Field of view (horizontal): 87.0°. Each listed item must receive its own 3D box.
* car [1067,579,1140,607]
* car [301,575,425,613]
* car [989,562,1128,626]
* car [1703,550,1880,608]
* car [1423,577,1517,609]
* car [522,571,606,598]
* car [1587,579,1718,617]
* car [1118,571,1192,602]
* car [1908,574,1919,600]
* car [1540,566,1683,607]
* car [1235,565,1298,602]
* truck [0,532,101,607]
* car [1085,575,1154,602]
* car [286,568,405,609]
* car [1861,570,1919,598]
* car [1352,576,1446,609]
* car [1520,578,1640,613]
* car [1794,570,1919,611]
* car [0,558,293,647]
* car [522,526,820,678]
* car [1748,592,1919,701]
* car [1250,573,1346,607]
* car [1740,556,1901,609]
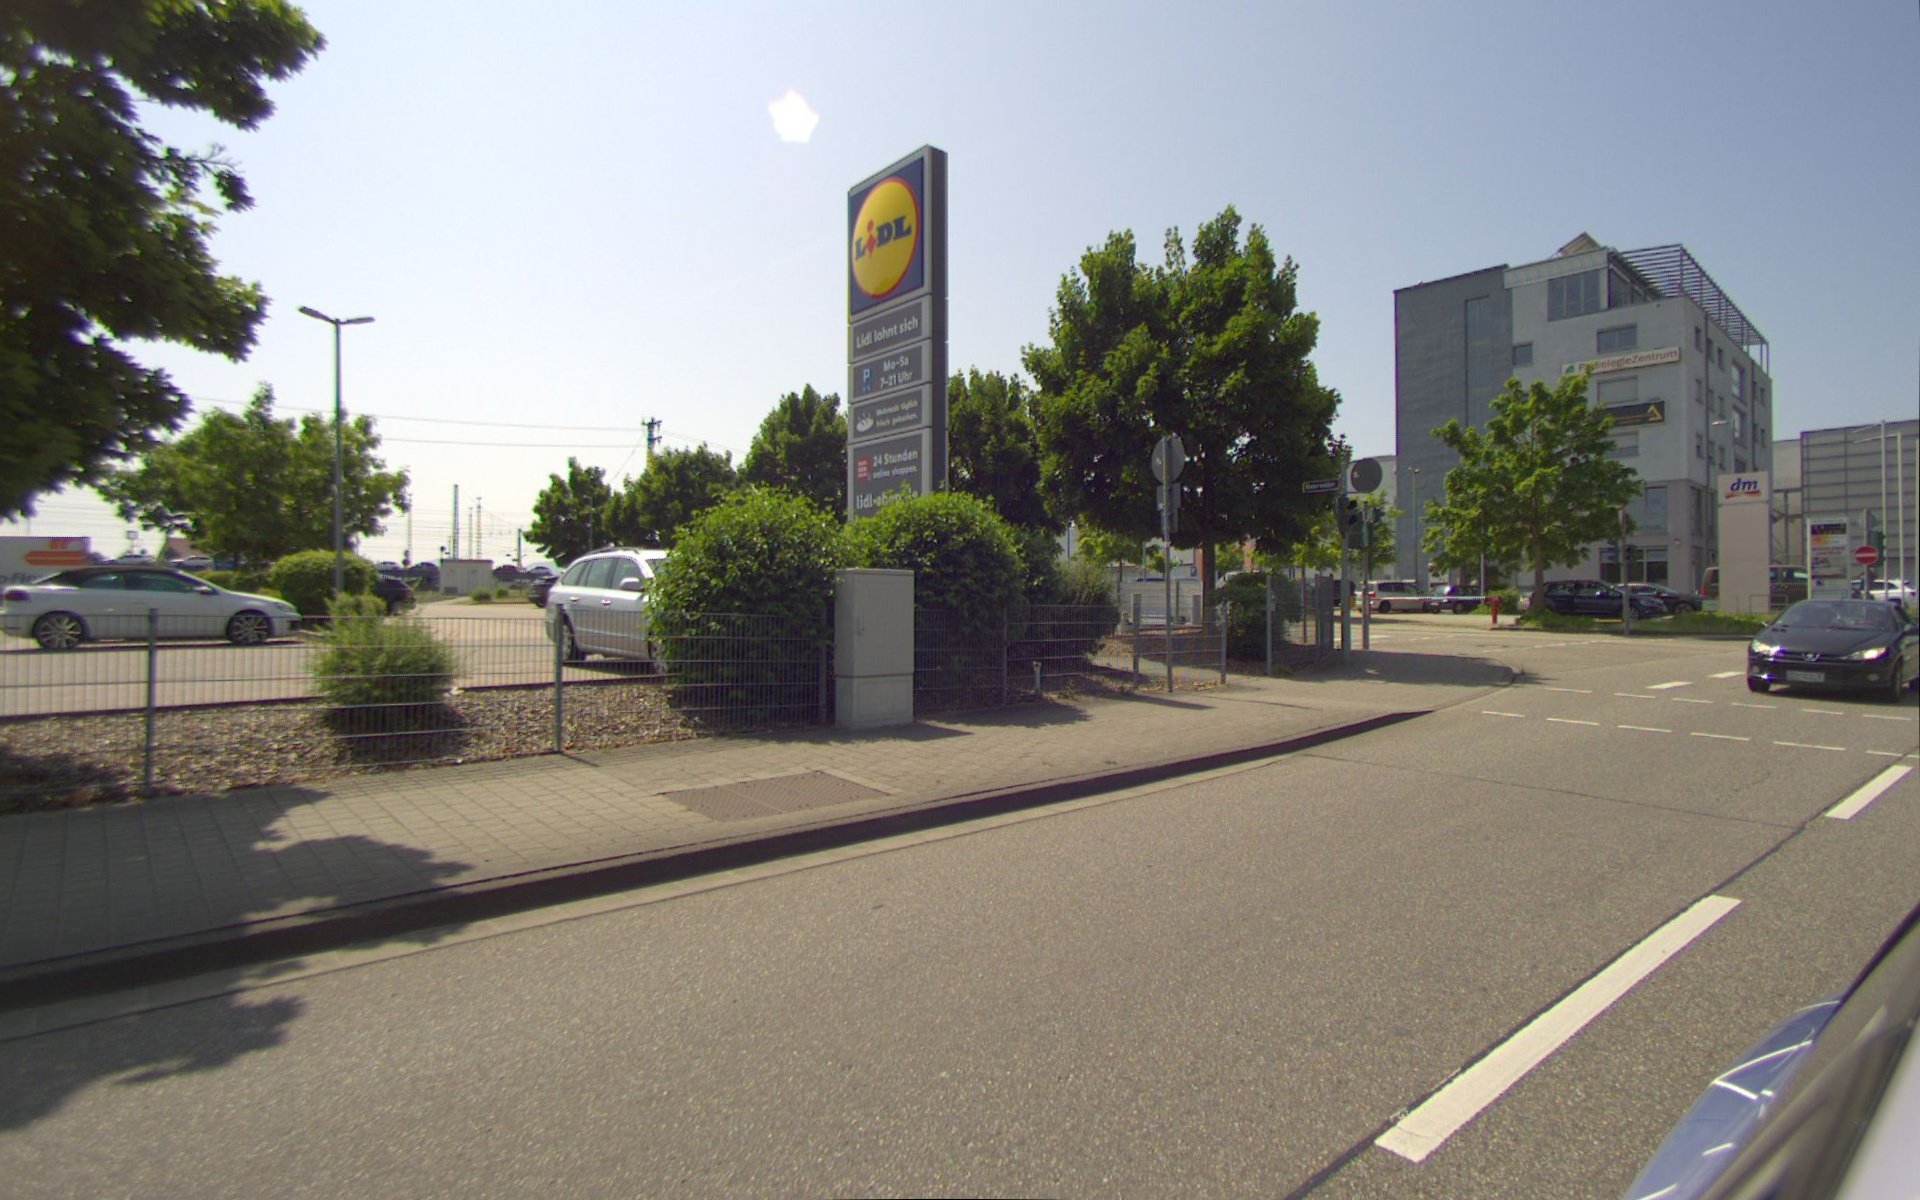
[{"bbox_3d":[7.311,-0.375,51.480,3.538,1.371,1.751,-1,1,-38],"label":"car"},{"bbox_3d":[-21.651,-0.238,36.758,3.731,1.304,1.635,0,1,-38],"label":"car"},{"bbox_3d":[2.459,-0.158,24.861,3.474,1.456,1.422,0,2,-43],"label":"car"},{"bbox_3d":[31.059,-0.726,37.925,2.143,1.821,4.705,0,-3,-37],"label":"car"},{"bbox_3d":[24.717,-0.348,49.074,3.916,1.504,2.004,0,1,-23],"label":"car"},{"bbox_3d":[-20.359,-0.799,52.102,3.691,1.306,1.650,-1,1,-43],"label":"car"},{"bbox_3d":[26.509,-0.101,38.811,1.726,1.356,3.876,-1,1,-42],"label":"car"},{"bbox_3d":[11.867,-0.798,61.539,4.104,1.812,1.676,1,-2,-15],"label":"car"},{"bbox_3d":[56.915,-0.785,57.540,1.726,1.505,4.136,-1,-1,-38],"label":"car"},{"bbox_3d":[23.278,-0.486,36.235,1.832,1.356,3.992,-1,1,-42],"label":"car"},{"bbox_3d":[19.330,-1.008,63.878,3.359,2.221,1.675,1,-2,-10],"label":"car"},{"bbox_3d":[-51.247,-1.617,52.681,9.854,3.885,2.856,-1,1,-40],"label":"truck"},{"bbox_3d":[10.091,-0.743,63.972,3.916,1.660,1.726,0,1,-19],"label":"car"},{"bbox_3d":[-23.409,-0.455,38.605,3.731,1.496,1.635,0,1,-38],"label":"car"},{"bbox_3d":[50.903,-0.874,53.428,1.768,1.399,4.754,-1,-1,-41],"label":"car"},{"bbox_3d":[22.051,-0.379,50.854,4.105,1.619,1.676,0,1,-13],"label":"car"},{"bbox_3d":[26.415,-0.211,43.222,3.929,1.415,1.813,0,1,5],"label":"car"},{"bbox_3d":[39.769,-0.392,44.505,2.060,1.630,4.470,-1,-1,-41],"label":"car"},{"bbox_3d":[-14.275,-0.016,17.823,4.011,1.411,1.737,-2,2,-42],"label":"car"},{"bbox_3d":[-3.713,0.020,12.417,1.669,1.524,4.581,0,0,-42],"label":"car"},{"bbox_3d":[13.102,0.587,14.832,3.436,1.373,1.641,0,2,-38],"label":"car"},{"bbox_3d":[18.501,-0.538,55.414,4.647,1.734,2.004,-1,-1,-19],"label":"car"},{"bbox_3d":[33.525,-0.654,39.546,1.964,1.721,4.418,-1,-2,-39],"label":"car"}]
